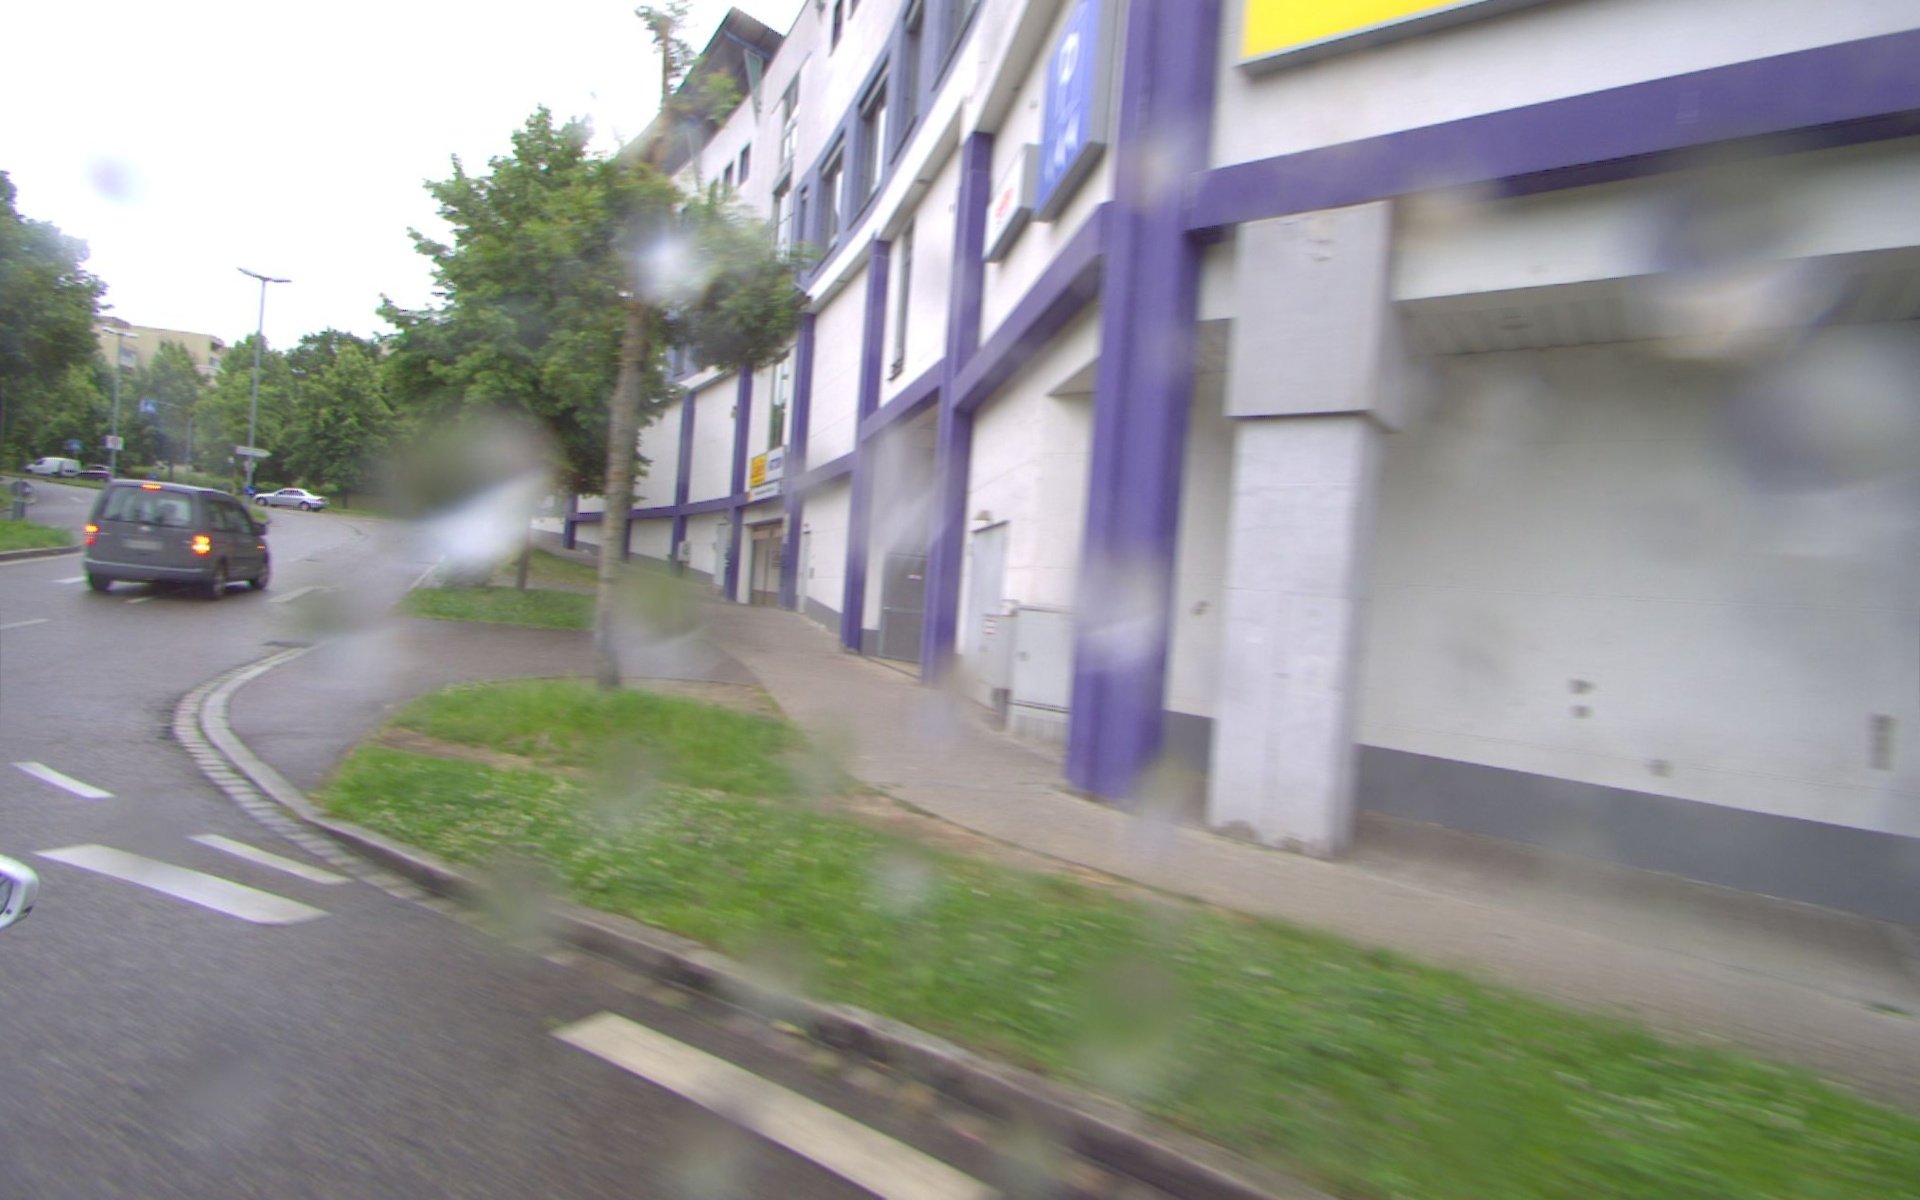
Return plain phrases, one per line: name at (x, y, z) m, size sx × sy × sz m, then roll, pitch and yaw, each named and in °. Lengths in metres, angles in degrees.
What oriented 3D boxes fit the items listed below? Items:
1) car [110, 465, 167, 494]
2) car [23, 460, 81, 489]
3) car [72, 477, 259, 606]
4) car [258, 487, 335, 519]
car at (-64.577, -9.459, 79.065) m, size 3.791 × 1.897 × 1.850 m, roll 6°, pitch 1°, yaw 23°
car at (-73.197, -10.148, 81.087) m, size 3.928 × 1.897 × 1.997 m, roll 6°, pitch 1°, yaw 25°
car at (-13.548, -1.052, 17.398) m, size 1.902 × 1.826 × 3.758 m, roll 5°, pitch 3°, yaw -30°
car at (-45.588, -6.637, 69.202) m, size 3.932 × 1.585 × 1.882 m, roll 5°, pitch 1°, yaw -11°
